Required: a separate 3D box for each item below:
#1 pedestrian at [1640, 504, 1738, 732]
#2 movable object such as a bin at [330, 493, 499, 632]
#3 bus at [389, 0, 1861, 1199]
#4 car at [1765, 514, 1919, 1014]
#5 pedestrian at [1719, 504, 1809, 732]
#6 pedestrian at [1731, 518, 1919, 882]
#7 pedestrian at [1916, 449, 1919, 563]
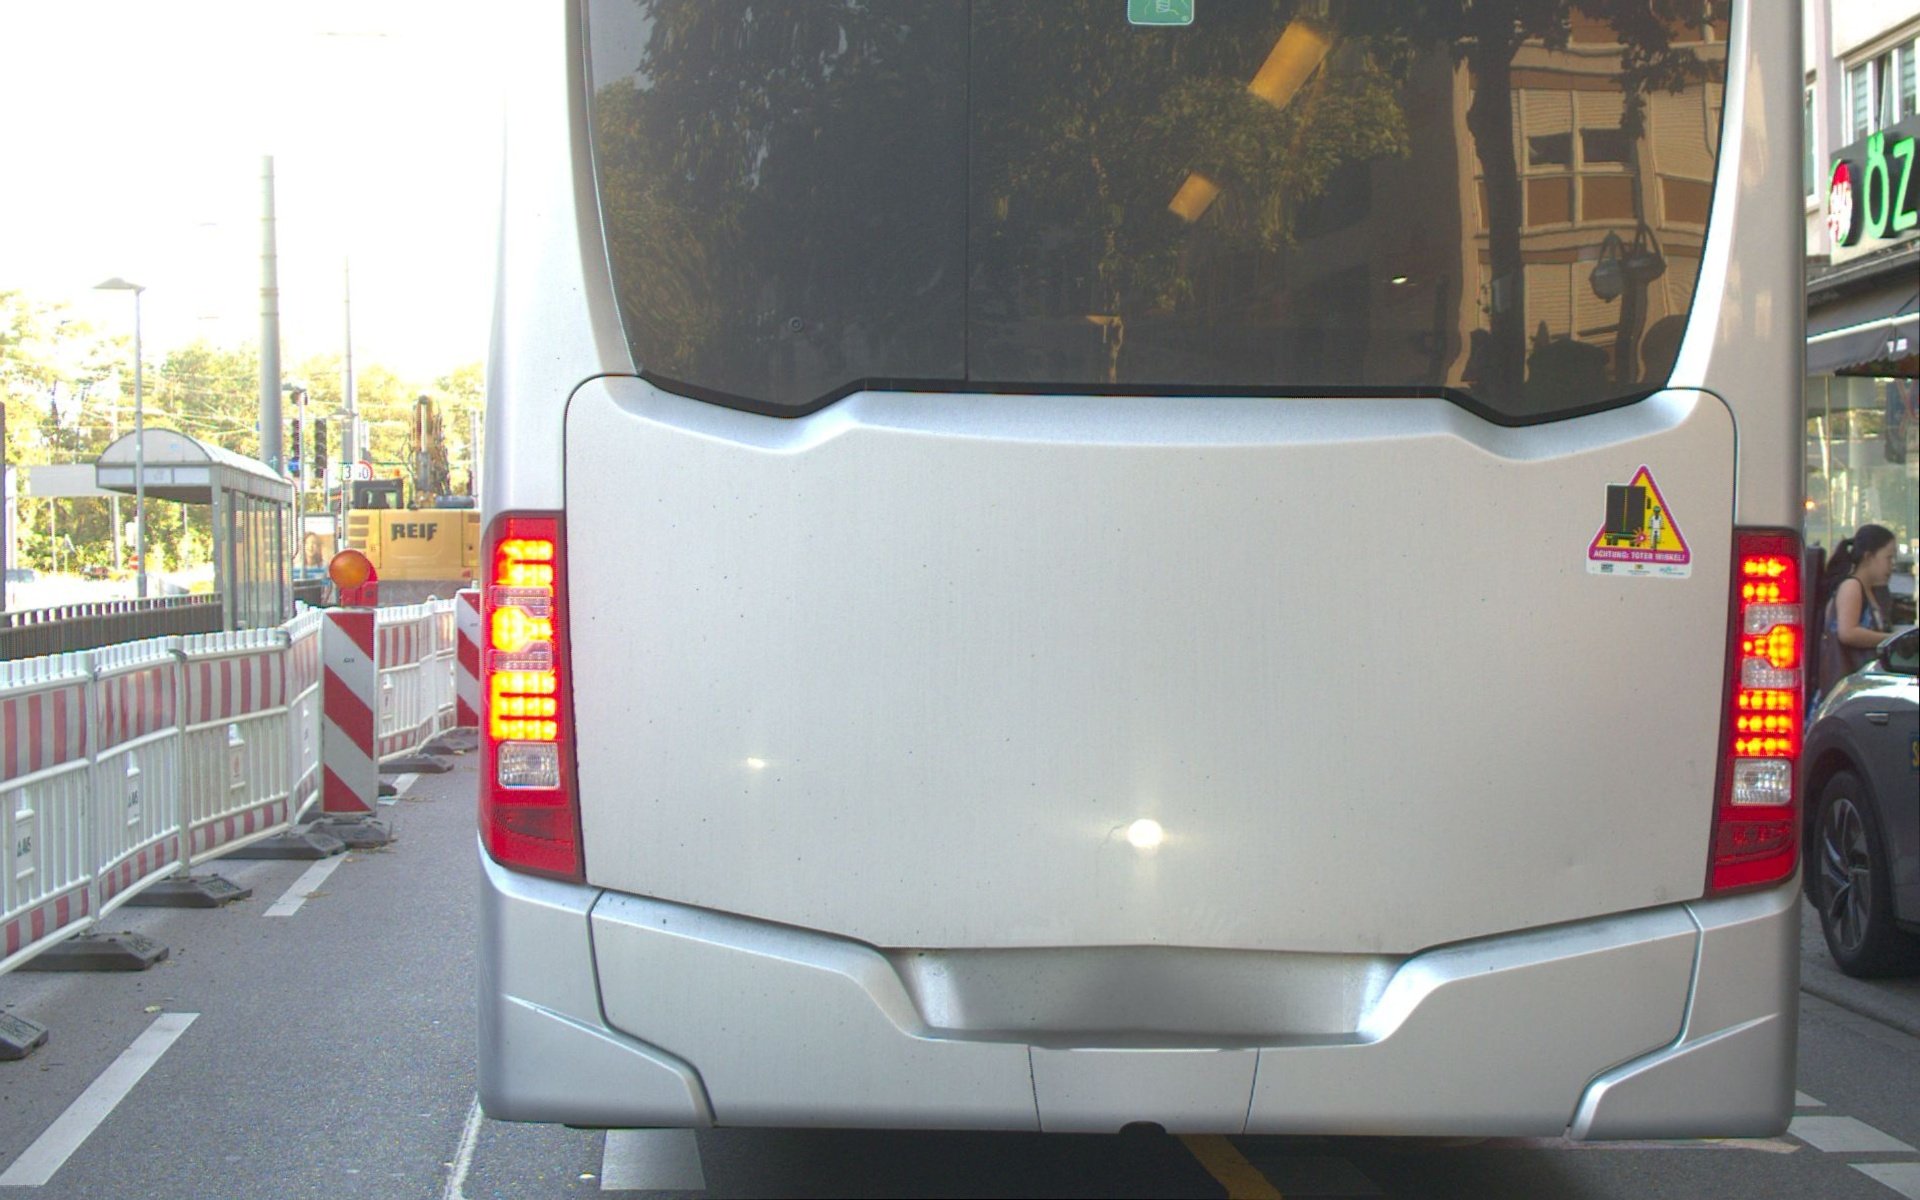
[{"bbox_3d":[6.508,0.153,30.714,0.691,2.007,0.696,-1,0,-1],"label":"pedestrian"},{"bbox_3d":[-10.051,-0.705,63.669,2.806,2.453,4.001,-1,1,-5],"label":"movable object such as a bin"},{"bbox_3d":[0.267,-0.281,11.247,2.608,3.159,10.292,0,1,0],"label":"bus"},{"bbox_3d":[3.983,0.499,10.263,1.739,1.592,4.300,-3,1,-5],"label":"car"},{"bbox_3d":[7.190,0.156,30.780,0.612,2.007,0.696,-1,0,-1],"label":"pedestrian"},{"bbox_3d":[4.012,0.426,15.445,0.750,1.575,0.875,0,1,38],"label":"pedestrian"},{"bbox_3d":[5.998,0.112,19.658,0.769,2.007,0.714,-2,0,-3],"label":"pedestrian"}]
